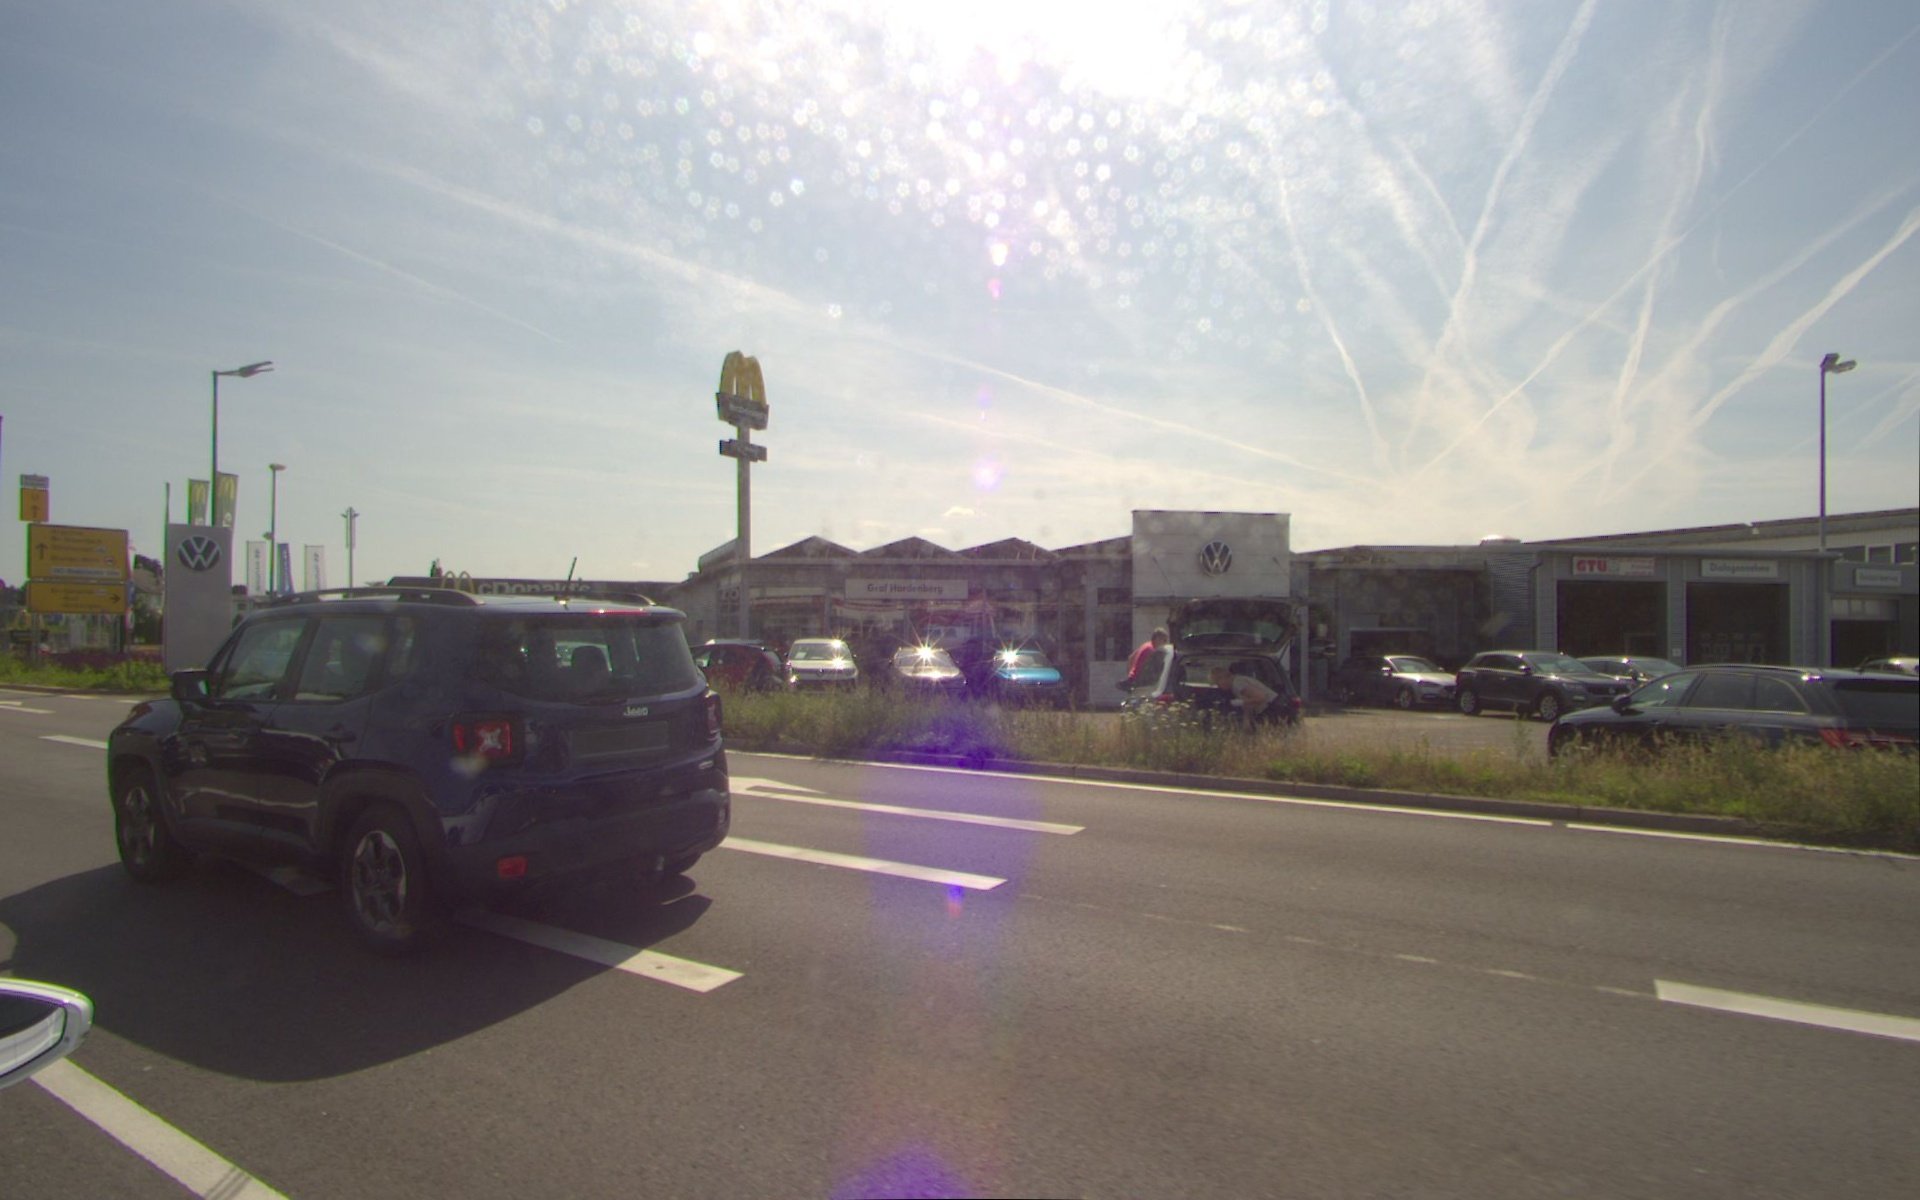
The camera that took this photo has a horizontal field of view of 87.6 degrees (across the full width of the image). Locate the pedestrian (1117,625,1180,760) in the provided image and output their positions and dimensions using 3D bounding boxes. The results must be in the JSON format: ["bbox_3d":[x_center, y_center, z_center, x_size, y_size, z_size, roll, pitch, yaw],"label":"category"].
[{"bbox_3d":[2.804,1.347,14.954,0.729,1.937,0.989,0,0,-2],"label":"pedestrian"}]

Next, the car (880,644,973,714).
[{"bbox_3d":[-0.938,1.909,25.092,1.858,1.476,4.209,0,-1,-8],"label":"car"}]

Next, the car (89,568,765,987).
[{"bbox_3d":[-3.198,0.740,5.816,3.943,1.676,1.767,-1,-1,32],"label":"car"}]

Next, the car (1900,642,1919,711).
[{"bbox_3d":[28.563,2.207,27.350,1.741,1.974,4.538,0,-1,4],"label":"car"}]

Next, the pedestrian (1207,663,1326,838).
[{"bbox_3d":[2.956,1.428,9.728,0.920,1.605,0.758,0,0,-1],"label":"pedestrian"}]

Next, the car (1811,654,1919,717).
[{"bbox_3d":[25.829,2.303,27.416,1.741,1.511,4.077,0,-1,4],"label":"car"}]

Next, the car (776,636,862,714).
[{"bbox_3d":[-3.406,1.782,24.824,1.884,1.692,4.000,0,-1,-5],"label":"car"}]

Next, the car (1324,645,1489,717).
[{"bbox_3d":[12.116,2.132,27.531,1.744,1.676,4.545,0,-1,-14],"label":"car"}]

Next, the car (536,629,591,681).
[{"bbox_3d":[-14.182,1.915,35.832,1.747,1.692,4.158,0,-1,-22],"label":"car"}]

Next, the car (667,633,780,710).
[{"bbox_3d":[-5.766,1.708,24.889,1.741,1.692,4.026,0,-1,2],"label":"car"}]

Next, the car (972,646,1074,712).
[{"bbox_3d":[1.512,1.947,25.594,1.789,1.428,4.112,0,-1,-8],"label":"car"}]

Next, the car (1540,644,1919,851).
[{"bbox_3d":[7.845,1.230,9.867,1.741,1.471,4.344,0,-1,0],"label":"car"}]

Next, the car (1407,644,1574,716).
[{"bbox_3d":[14.449,2.124,27.566,1.744,1.676,4.166,0,-1,-14],"label":"car"}]

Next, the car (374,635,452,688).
[{"bbox_3d":[-18.361,2.010,33.777,1.830,1.597,4.221,0,-1,-22],"label":"car"}]

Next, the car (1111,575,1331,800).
[{"bbox_3d":[2.943,0.912,12.213,1.729,2.241,4.350,0,-1,3],"label":"car"}]

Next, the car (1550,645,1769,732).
[{"bbox_3d":[15.703,1.921,22.764,1.742,1.676,4.075,0,-1,-9],"label":"car"}]

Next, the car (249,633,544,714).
[{"bbox_3d":[-11.148,1.528,20.211,4.729,1.347,1.967,3,-6,-13],"label":"car"}]

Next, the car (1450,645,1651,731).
[{"bbox_3d":[13.194,1.911,22.687,1.662,1.629,4.074,1,-1,-10],"label":"car"}]

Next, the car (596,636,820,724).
[{"bbox_3d":[-5.026,1.586,20.268,3.998,1.675,1.777,0,-3,7],"label":"car"}]
